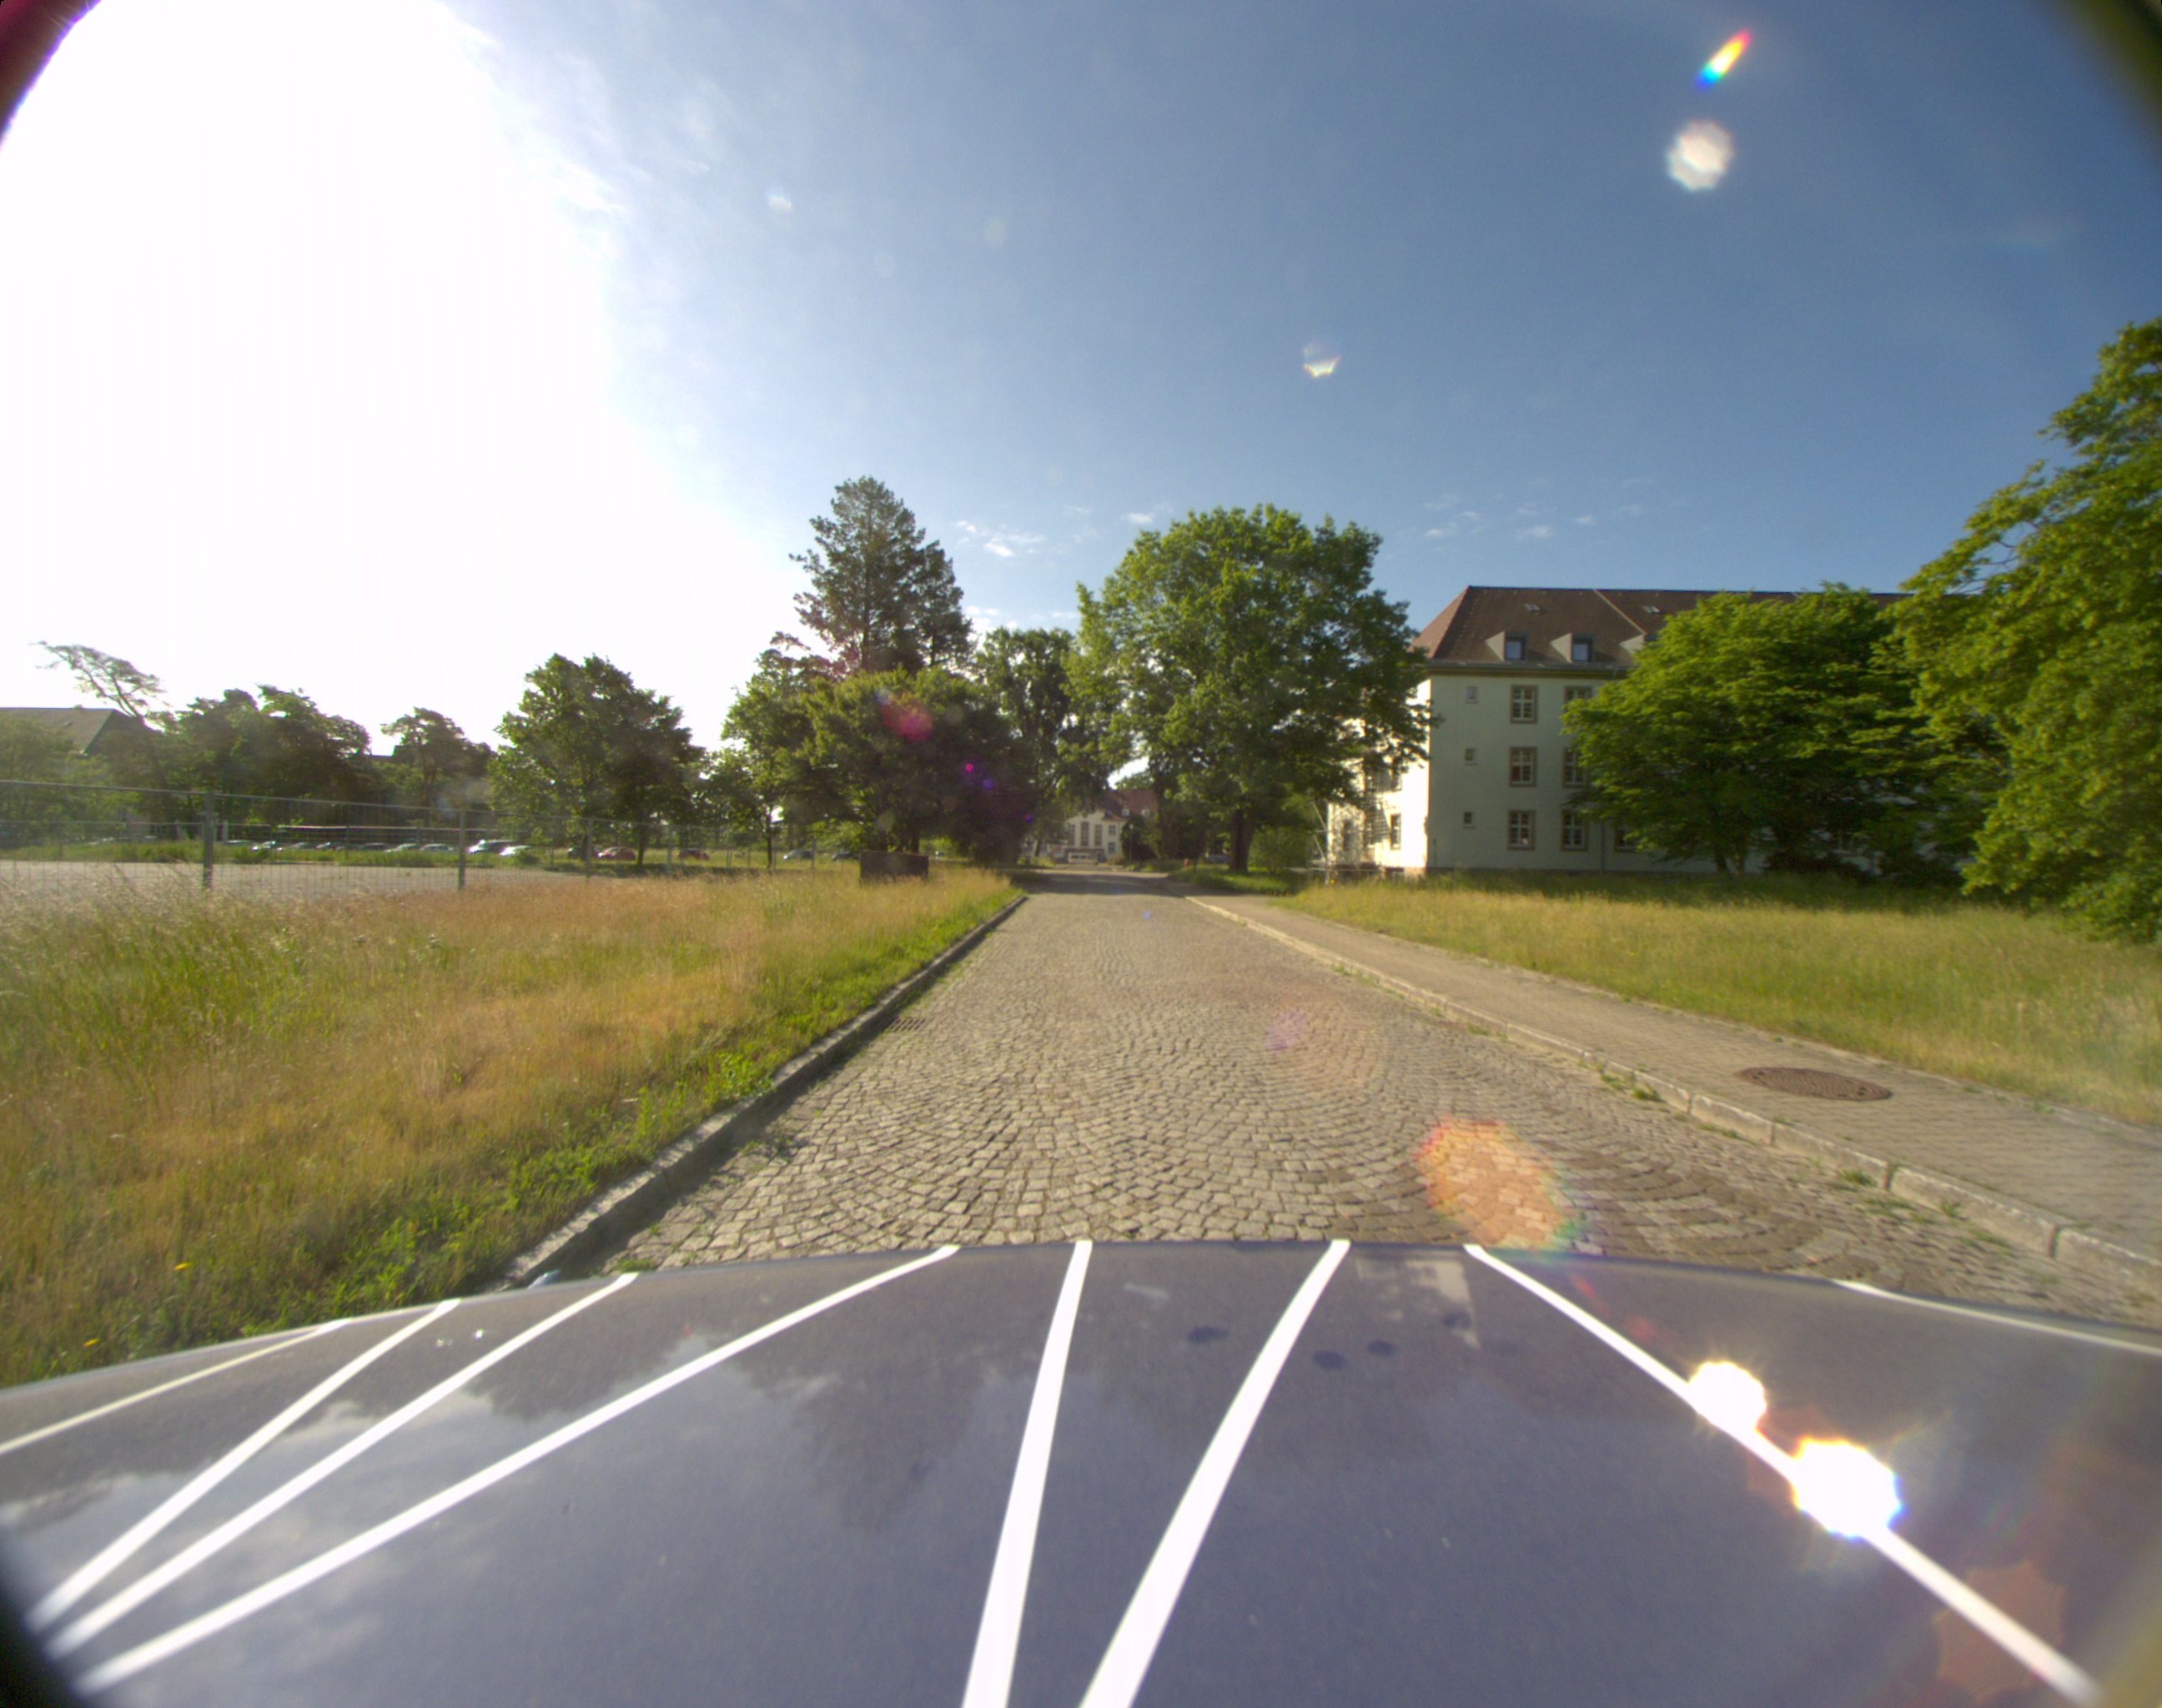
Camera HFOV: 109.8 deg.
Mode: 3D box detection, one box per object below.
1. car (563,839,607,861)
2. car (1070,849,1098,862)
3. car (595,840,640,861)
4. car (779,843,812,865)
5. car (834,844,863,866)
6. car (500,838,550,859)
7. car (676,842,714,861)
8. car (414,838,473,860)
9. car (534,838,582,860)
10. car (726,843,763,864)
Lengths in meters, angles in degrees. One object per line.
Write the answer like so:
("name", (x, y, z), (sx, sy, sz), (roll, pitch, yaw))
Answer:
("car", (-47.836, -0.378, 73.393), (2.000, 2.002, 3.996), (1, 0, -8))
("car", (0.496, 0.252, 135.786), (4.870, 2.083, 2.000), (1, 0, 0))
("car", (-44.882, -0.339, 73.724), (1.999, 2.002, 3.999), (1, 0, -2))
("car", (-27.564, -0.013, 73.469), (2.000, 2.002, 3.997), (1, 0, -7))
("car", (-22.386, 0.116, 73.258), (2.000, 2.002, 3.997), (1, 0, -7))
("car", (-53.973, -0.496, 73.829), (1.999, 1.936, 3.999), (1, 0, -2))
("car", (-37.413, -0.240, 73.674), (2.000, 1.805, 3.997), (1, 0, -7))
("car", (-61.769, -0.485, 73.709), (1.997, 2.002, 4.002), (-2, 1, 7))
("car", (-51.569, -0.494, 74.980), (1.999, 2.002, 4.000), (1, 0, 0))
("car", (-32.773, -0.061, 74.080), (1.999, 2.002, 3.999), (1, 0, -3))
